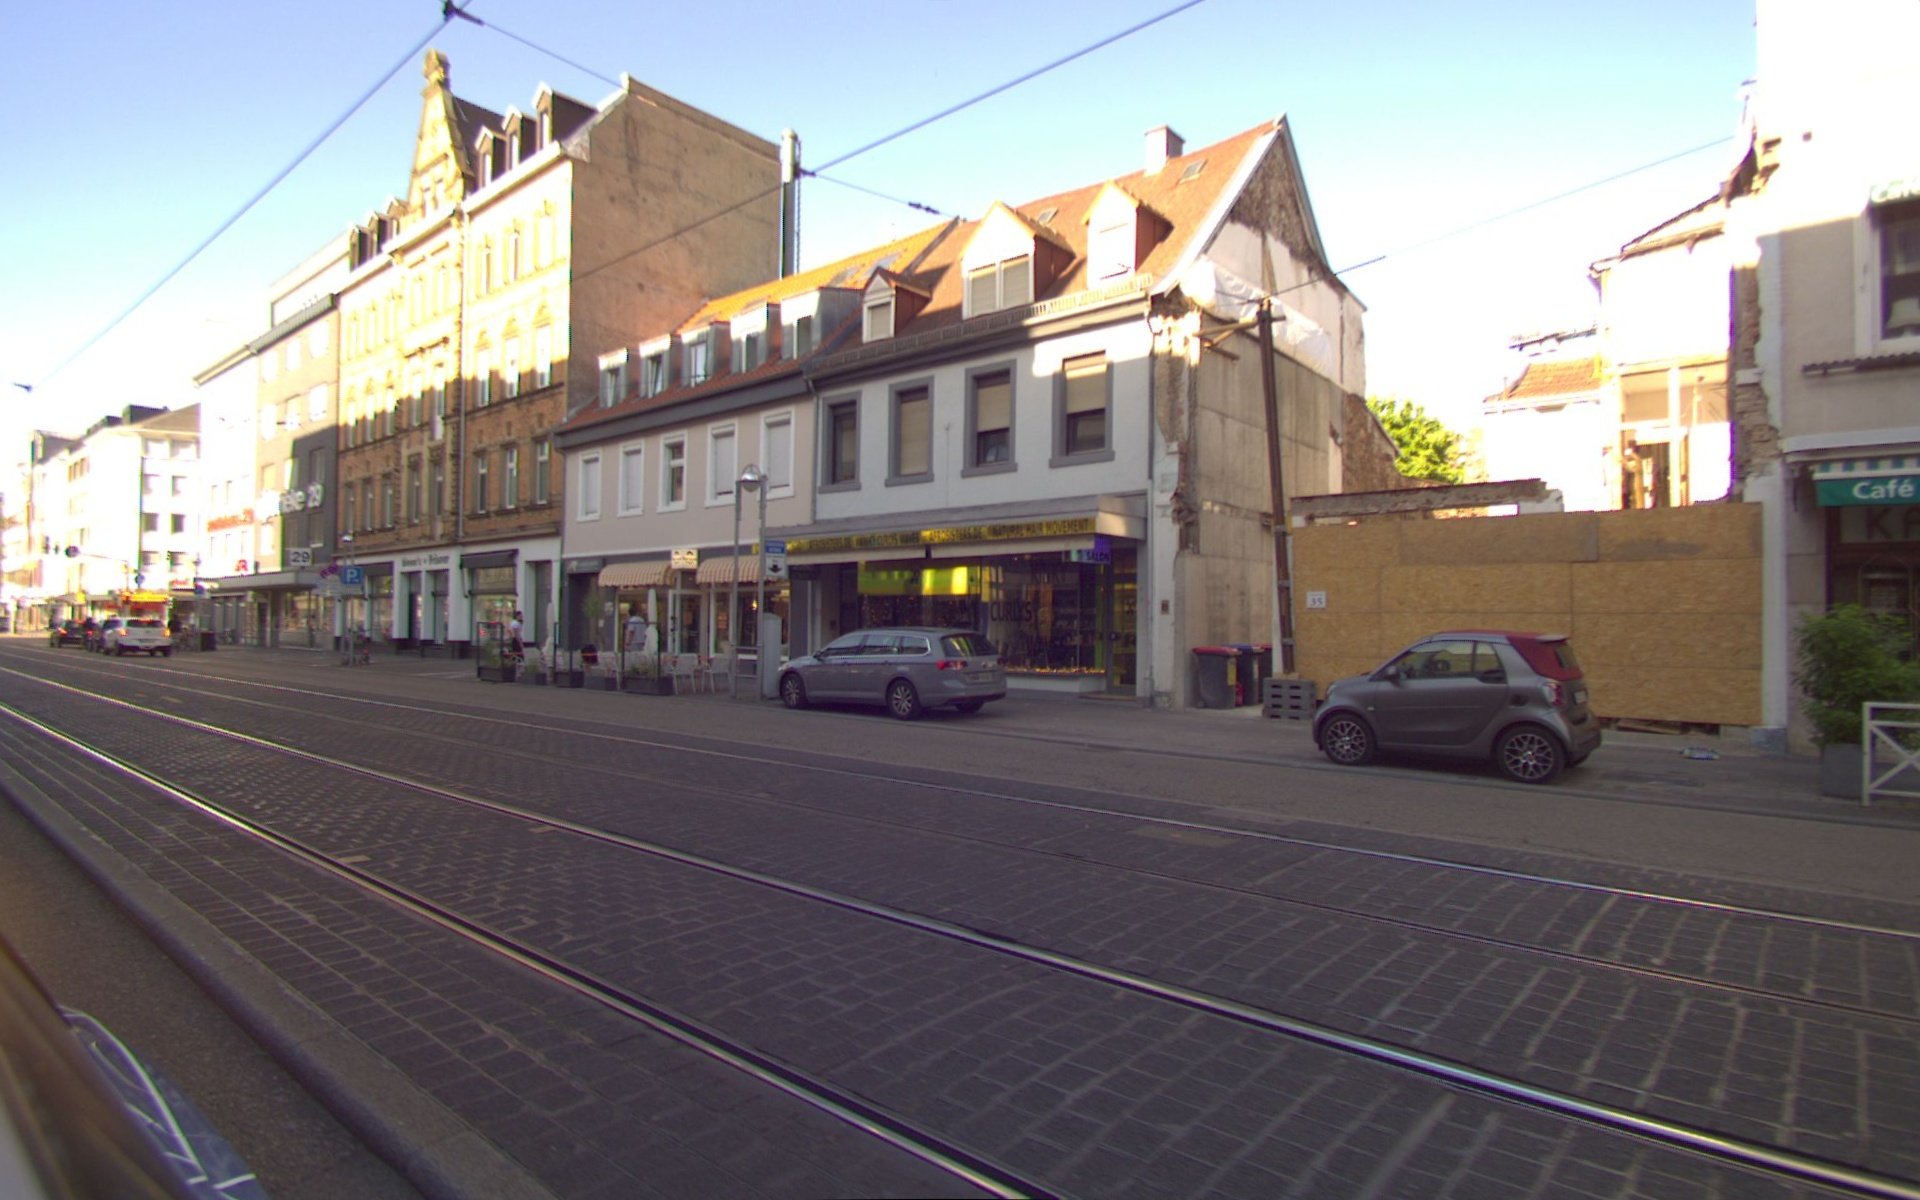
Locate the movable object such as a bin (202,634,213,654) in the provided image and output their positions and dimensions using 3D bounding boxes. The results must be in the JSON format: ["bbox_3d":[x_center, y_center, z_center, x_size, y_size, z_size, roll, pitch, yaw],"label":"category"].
[{"bbox_3d":[-36.714,2.128,49.391,0.467,0.955,0.321,-1,-2,41],"label":"movable object such as a bin"}]

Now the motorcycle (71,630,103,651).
[{"bbox_3d":[-42.677,1.980,49.489,1.934,1.000,0.895,-1,-3,41],"label":"motorcycle"}]

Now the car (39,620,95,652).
[{"bbox_3d":[-46.575,1.869,52.777,3.998,1.542,1.645,-1,-3,41],"label":"car"}]

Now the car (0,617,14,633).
[{"bbox_3d":[-94.091,2.396,99.122,3.462,1.544,1.609,-1,-4,41],"label":"car"}]

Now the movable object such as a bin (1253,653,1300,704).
[{"bbox_3d":[5.889,1.450,18.821,0.644,0.889,0.593,-1,0,41],"label":"movable object such as a bin"}]

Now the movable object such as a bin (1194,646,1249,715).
[{"bbox_3d":[4.497,1.365,17.414,0.696,1.102,0.653,-1,0,41],"label":"movable object such as a bin"}]

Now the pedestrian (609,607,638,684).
[{"bbox_3d":[-8.407,1.123,25.277,0.647,1.863,0.583,-1,0,-19],"label":"pedestrian"}]

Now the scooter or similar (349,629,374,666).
[{"bbox_3d":[-20.804,1.652,35.172,1.201,1.232,0.399,-1,0,41],"label":"scooter or similar"}]

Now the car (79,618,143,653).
[{"bbox_3d":[-39.304,1.645,46.811,3.998,1.542,1.645,-1,-3,41],"label":"car"}]

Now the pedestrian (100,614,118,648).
[{"bbox_3d":[-47.549,1.718,56.544,0.635,1.855,0.696,-1,0,41],"label":"pedestrian"}]

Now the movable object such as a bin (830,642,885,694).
[{"bbox_3d":[-2.252,1.472,22.176,1.029,1.071,0.693,-1,-2,41],"label":"movable object such as a bin"}]

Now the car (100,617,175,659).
[{"bbox_3d":[-34.090,1.561,41.924,3.674,1.647,1.779,-1,-2,41],"label":"car"}]

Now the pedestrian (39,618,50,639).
[{"bbox_3d":[-85.727,2.648,94.737,0.620,1.965,0.661,-1,0,41],"label":"pedestrian"}]

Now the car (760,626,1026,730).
[{"bbox_3d":[-1.282,1.242,17.582,4.760,1.526,1.798,-1,-1,41],"label":"car"}]

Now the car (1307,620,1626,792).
[{"bbox_3d":[5.655,1.062,11.404,2.890,1.616,1.679,-1,0,41],"label":"car"}]

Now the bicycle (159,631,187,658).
[{"bbox_3d":[-35.662,1.995,45.863,2.099,1.157,0.602,-1,0,41],"label":"bicycle"}]

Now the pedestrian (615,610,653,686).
[{"bbox_3d":[-7.817,1.145,24.267,0.580,1.775,0.651,-1,0,33],"label":"pedestrian"}]

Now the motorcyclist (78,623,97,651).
[{"bbox_3d":[-42.661,1.807,49.481,0.655,1.313,0.533,-1,-3,41],"label":"motorcyclist"}]

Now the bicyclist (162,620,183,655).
[{"bbox_3d":[-35.709,1.702,45.882,0.861,1.558,0.569,-1,0,41],"label":"bicyclist"}]

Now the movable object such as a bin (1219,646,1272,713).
[{"bbox_3d":[5.067,1.396,17.964,0.696,1.102,0.653,-1,0,41],"label":"movable object such as a bin"}]

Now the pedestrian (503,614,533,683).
[{"bbox_3d":[-11.950,1.286,27.347,0.572,1.819,0.660,-1,0,-37],"label":"pedestrian"}]
